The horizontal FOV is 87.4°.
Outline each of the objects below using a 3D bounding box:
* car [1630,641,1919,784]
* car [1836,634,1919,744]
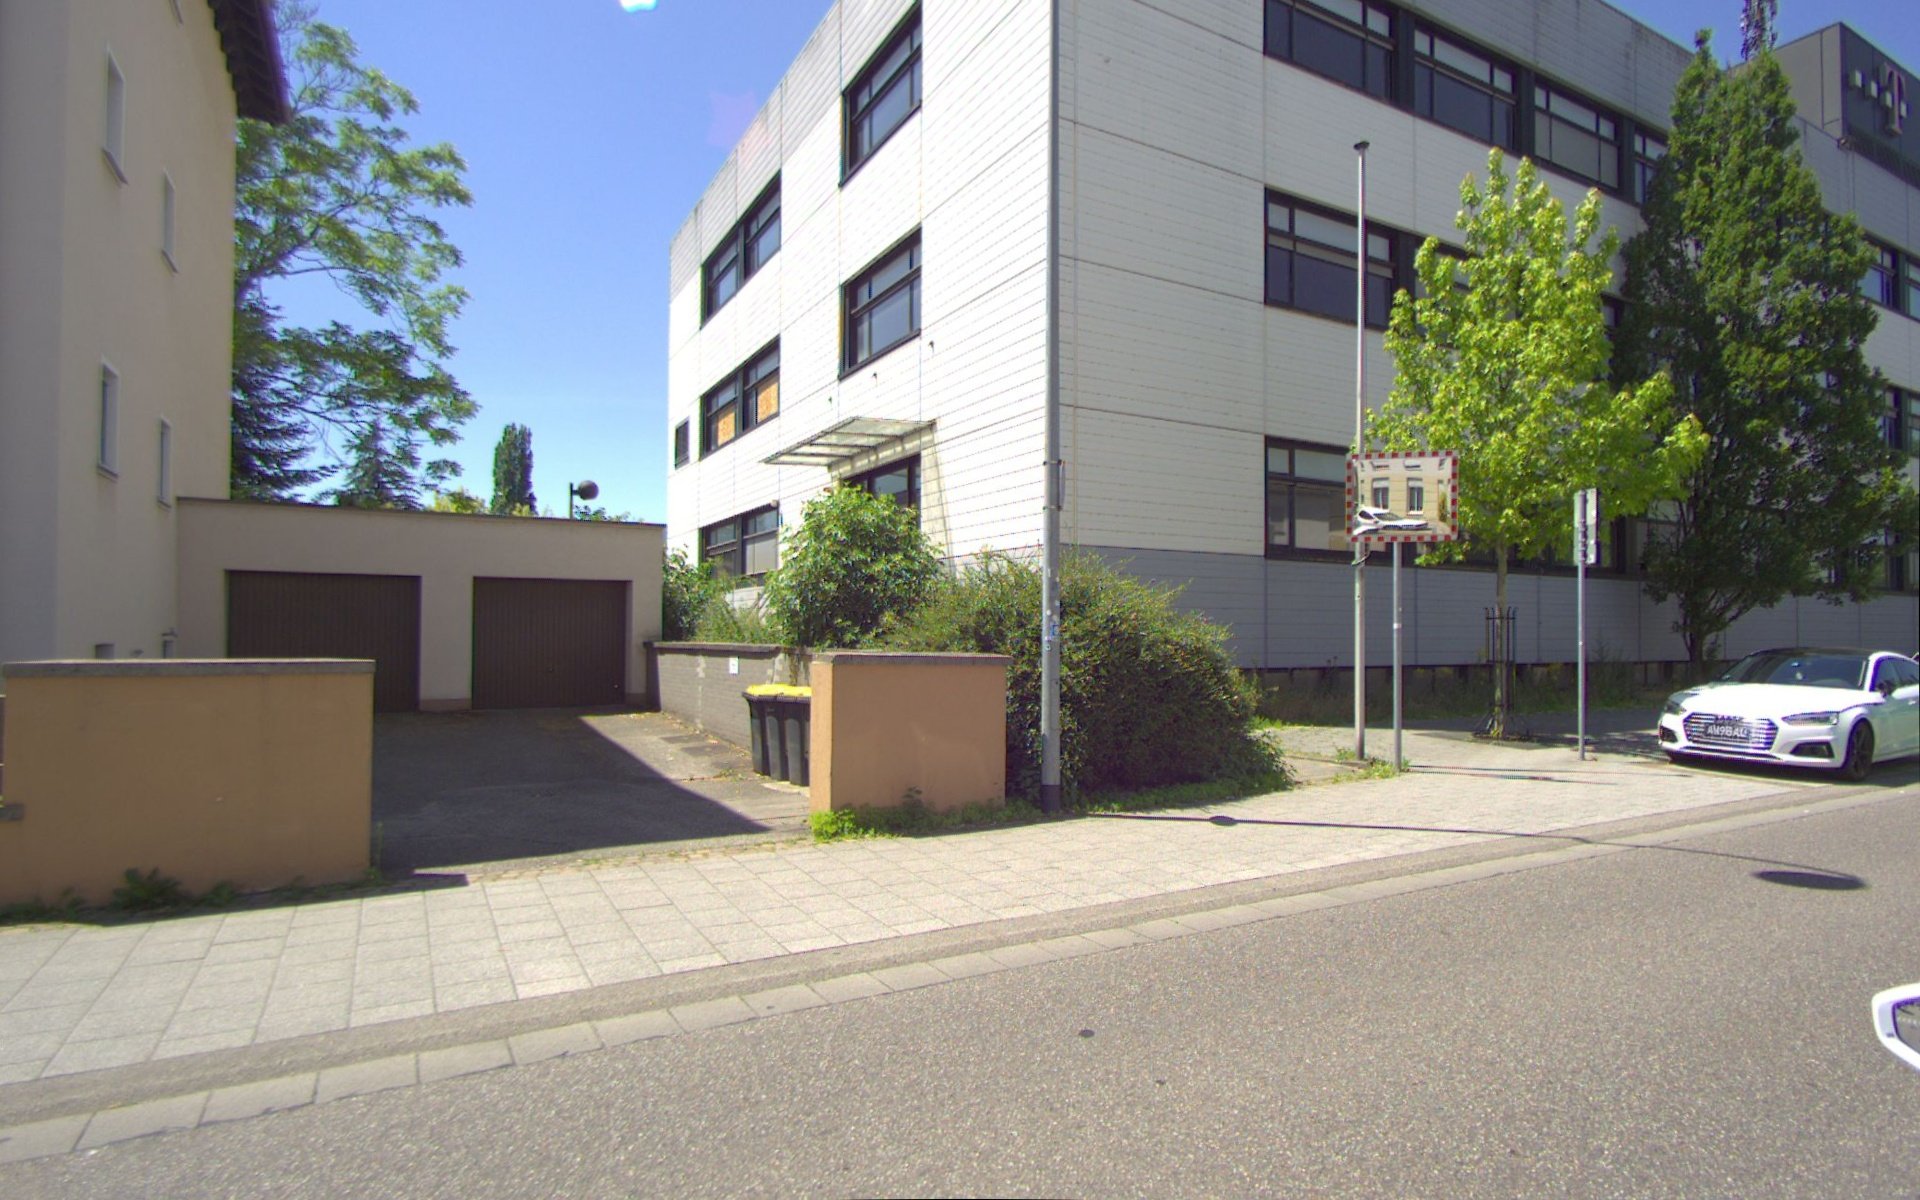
[{"bbox_3d":[10.352,1.247,12.283,4.523,1.430,1.814,1,-1,-30],"label":"car"},{"bbox_3d":[15.282,1.305,15.197,4.239,1.532,1.814,1,-2,-30],"label":"car"}]
